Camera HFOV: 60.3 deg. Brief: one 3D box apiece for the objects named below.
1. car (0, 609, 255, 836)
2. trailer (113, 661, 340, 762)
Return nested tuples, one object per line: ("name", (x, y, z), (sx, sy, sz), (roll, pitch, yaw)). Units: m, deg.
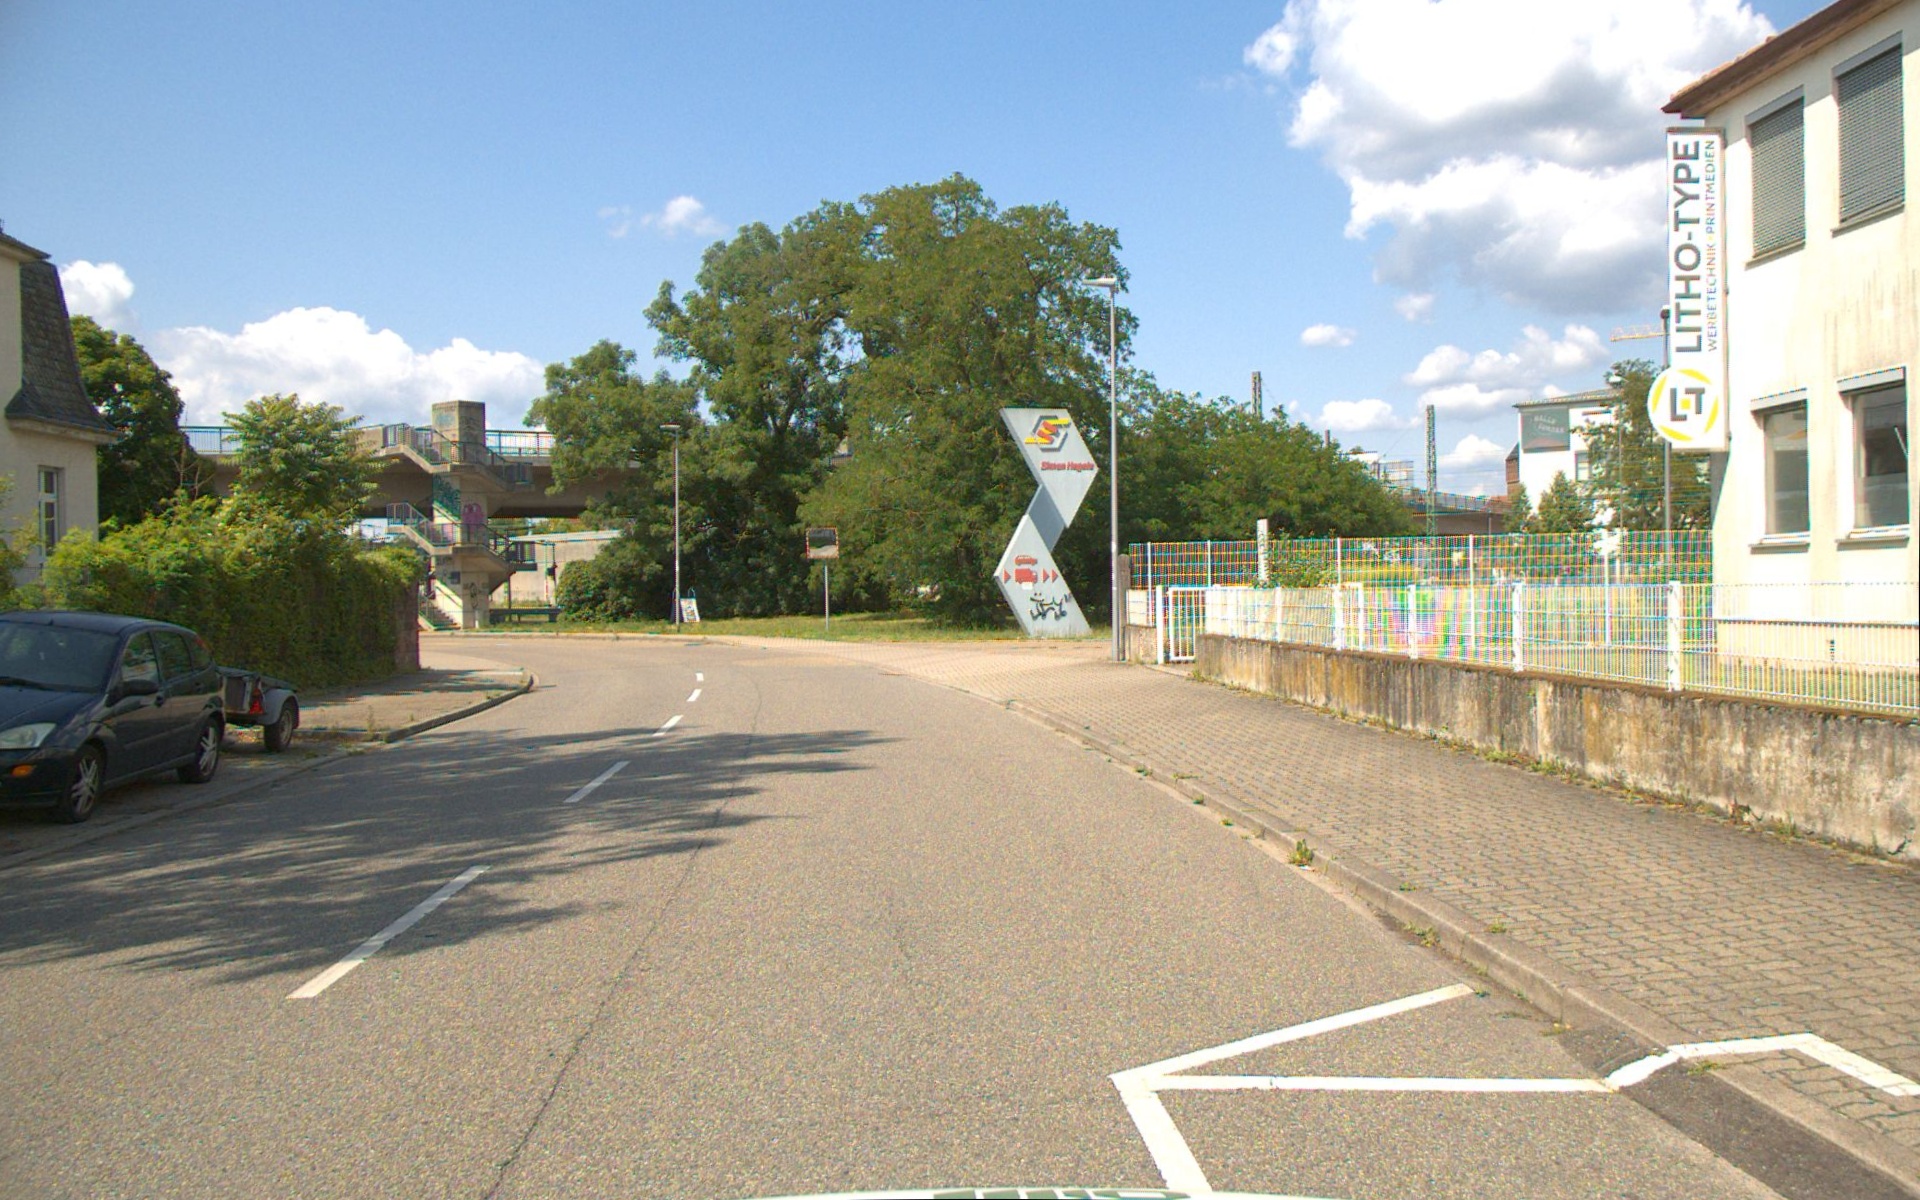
("car", (-7.444, 0.877, 13.688), (1.649, 1.539, 4.153), (3, -1, -4))
("trailer", (-7.961, 1.185, 18.146), (1.435, 0.865, 2.465), (3, 0, -3))
